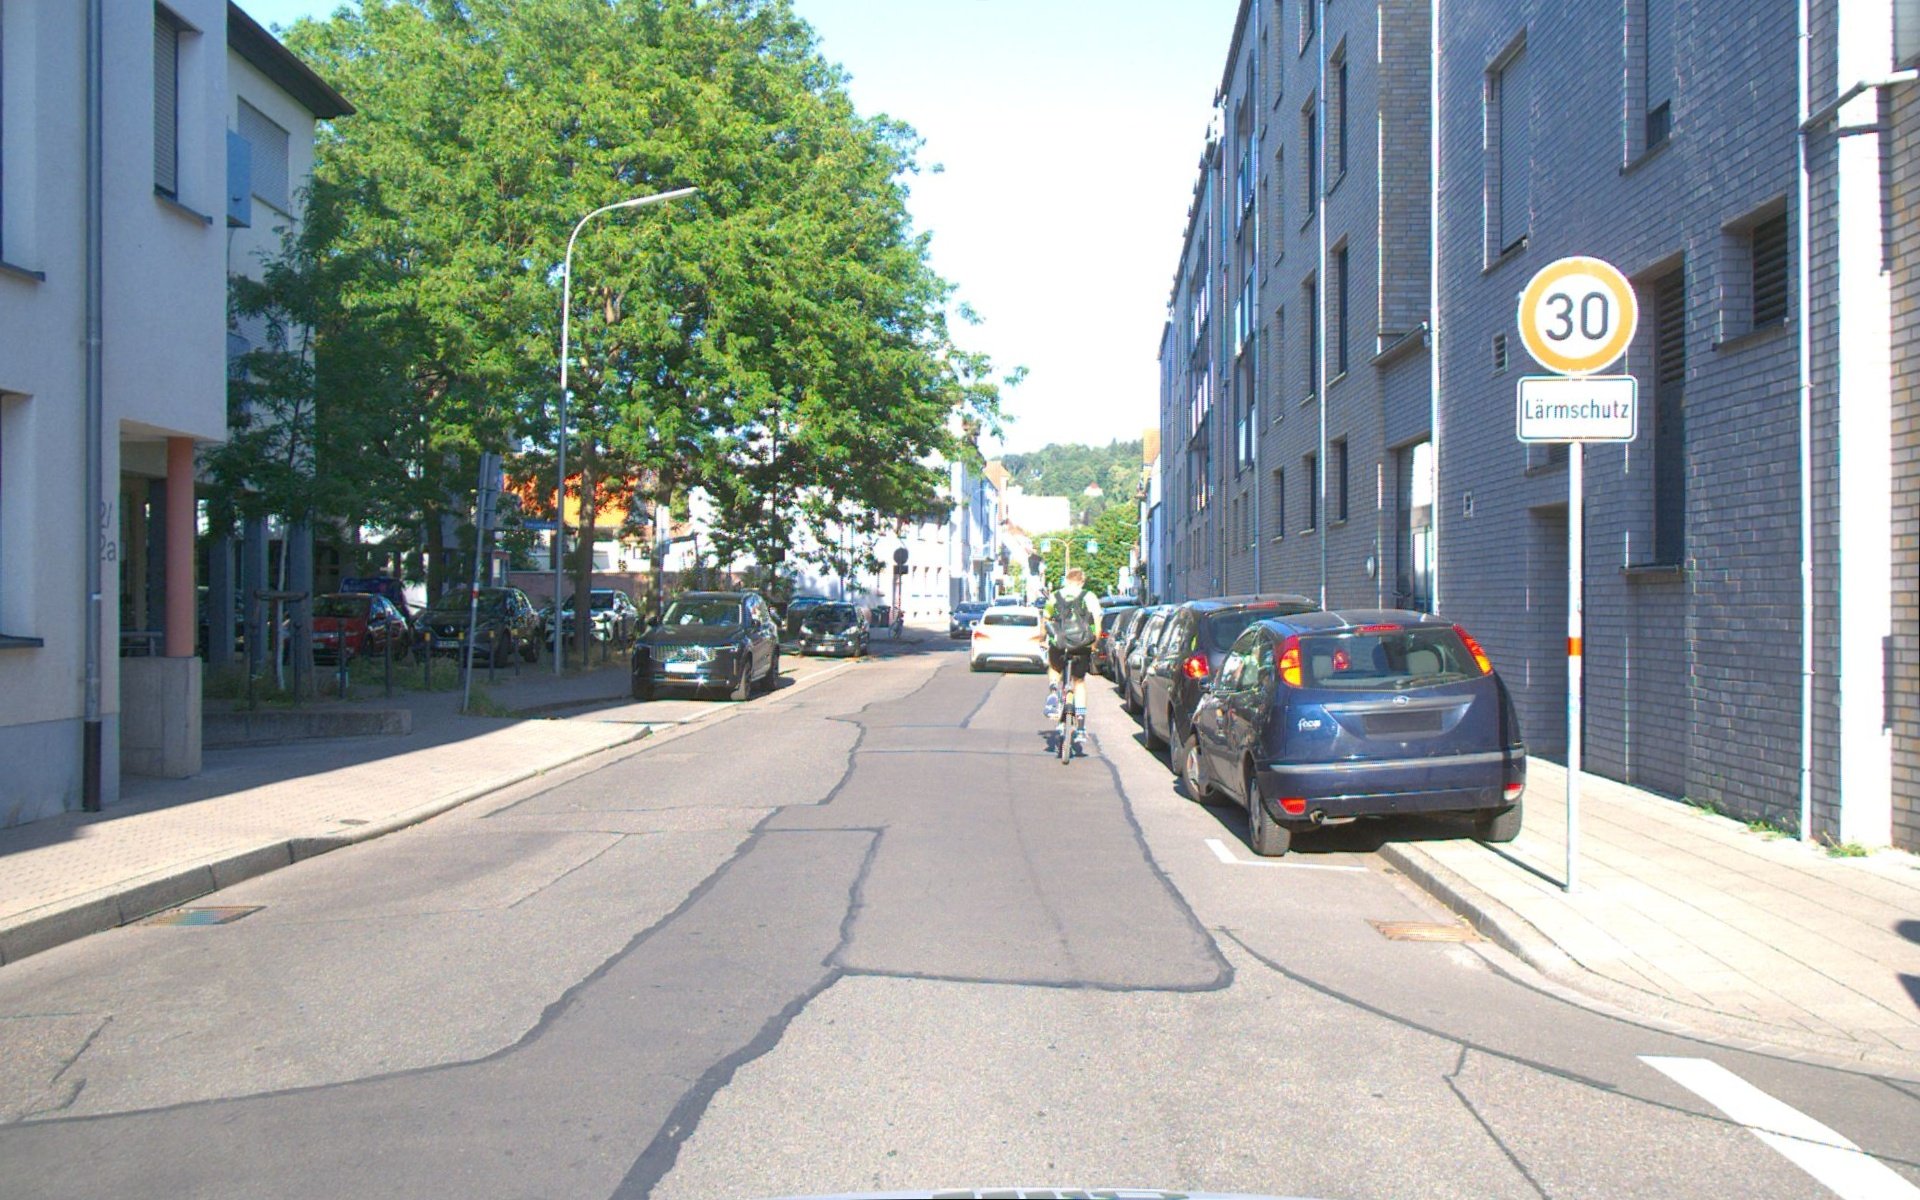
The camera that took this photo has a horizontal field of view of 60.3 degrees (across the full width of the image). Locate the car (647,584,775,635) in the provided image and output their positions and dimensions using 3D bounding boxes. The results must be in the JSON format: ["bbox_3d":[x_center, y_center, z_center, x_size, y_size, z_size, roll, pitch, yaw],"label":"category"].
[{"bbox_3d":[-8.176,0.310,54.486,3.818,1.603,1.711,1,0,8],"label":"car"}]

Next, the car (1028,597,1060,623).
[{"bbox_3d":[5.703,0.655,111.598,1.904,1.614,4.624,-3,0,6],"label":"car"}]

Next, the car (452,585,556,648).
[{"bbox_3d":[-12.628,0.433,45.982,1.820,1.614,3.671,2,0,0],"label":"car"}]

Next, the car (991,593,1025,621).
[{"bbox_3d":[3.031,0.420,103.549,1.904,1.614,4.623,-3,0,4],"label":"car"}]

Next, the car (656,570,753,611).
[{"bbox_3d":[-10.475,-0.382,68.054,3.826,1.603,1.707,1,0,-7],"label":"car"}]

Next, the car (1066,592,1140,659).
[{"bbox_3d":[3.978,0.684,46.618,1.819,1.732,4.623,-3,0,3],"label":"car"}]

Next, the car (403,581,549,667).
[{"bbox_3d":[-10.106,0.454,34.867,1.820,1.614,4.619,2,0,-2],"label":"car"}]

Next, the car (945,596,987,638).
[{"bbox_3d":[0.253,0.673,66.600,1.630,1.603,3.914,1,0,0],"label":"car"}]

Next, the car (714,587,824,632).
[{"bbox_3d":[-7.078,0.359,61.561,3.819,1.603,1.710,1,0,3],"label":"car"}]

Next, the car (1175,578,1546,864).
[{"bbox_3d":[2.625,0.721,11.787,1.596,1.614,4.069,-2,0,0],"label":"car"}]

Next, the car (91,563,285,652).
[{"bbox_3d":[-15.672,0.119,33.863,1.820,1.614,4.620,2,0,-1],"label":"car"}]

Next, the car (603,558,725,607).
[{"bbox_3d":[-10.235,-0.605,57.352,3.818,1.603,1.711,1,0,6],"label":"car"}]

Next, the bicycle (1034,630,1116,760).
[{"bbox_3d":[1.102,0.885,16.249,0.684,1.150,2.403,1,0,2],"label":"bicycle"}]

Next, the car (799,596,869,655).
[{"bbox_3d":[-3.570,0.700,47.475,1.669,1.603,3.914,1,0,0],"label":"car"}]

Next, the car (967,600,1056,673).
[{"bbox_3d":[1.104,0.777,37.105,1.804,1.517,4.143,1,0,-1],"label":"car"}]

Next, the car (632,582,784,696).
[{"bbox_3d":[-4.313,0.613,29.006,1.814,1.823,4.608,1,0,2],"label":"car"}]

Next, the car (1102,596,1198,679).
[{"bbox_3d":[3.697,0.703,32.633,1.477,1.469,3.530,-2,0,1],"label":"car"}]

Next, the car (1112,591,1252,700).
[{"bbox_3d":[3.556,0.683,27.189,1.819,1.615,4.622,1,0,2],"label":"car"}]

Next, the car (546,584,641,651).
[{"bbox_3d":[-10.168,0.456,46.163,1.753,1.719,3.964,2,0,-1],"label":"car"}]

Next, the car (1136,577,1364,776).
[{"bbox_3d":[2.771,0.664,16.572,1.630,1.732,3.914,1,0,1],"label":"car"}]

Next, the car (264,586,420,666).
[{"bbox_3d":[-12.642,0.487,34.094,1.683,1.474,4.142,2,0,-1],"label":"car"}]

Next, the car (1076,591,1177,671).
[{"bbox_3d":[3.707,0.674,37.586,1.819,1.614,4.621,-3,0,1],"label":"car"}]

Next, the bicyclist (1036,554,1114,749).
[{"bbox_3d":[1.108,0.488,16.121,0.684,1.821,1.041,1,-1,1],"label":"bicyclist"}]

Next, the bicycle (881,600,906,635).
[{"bbox_3d":[-2.504,0.645,62.469,0.818,1.239,2.842,1,0,0],"label":"bicycle"}]
